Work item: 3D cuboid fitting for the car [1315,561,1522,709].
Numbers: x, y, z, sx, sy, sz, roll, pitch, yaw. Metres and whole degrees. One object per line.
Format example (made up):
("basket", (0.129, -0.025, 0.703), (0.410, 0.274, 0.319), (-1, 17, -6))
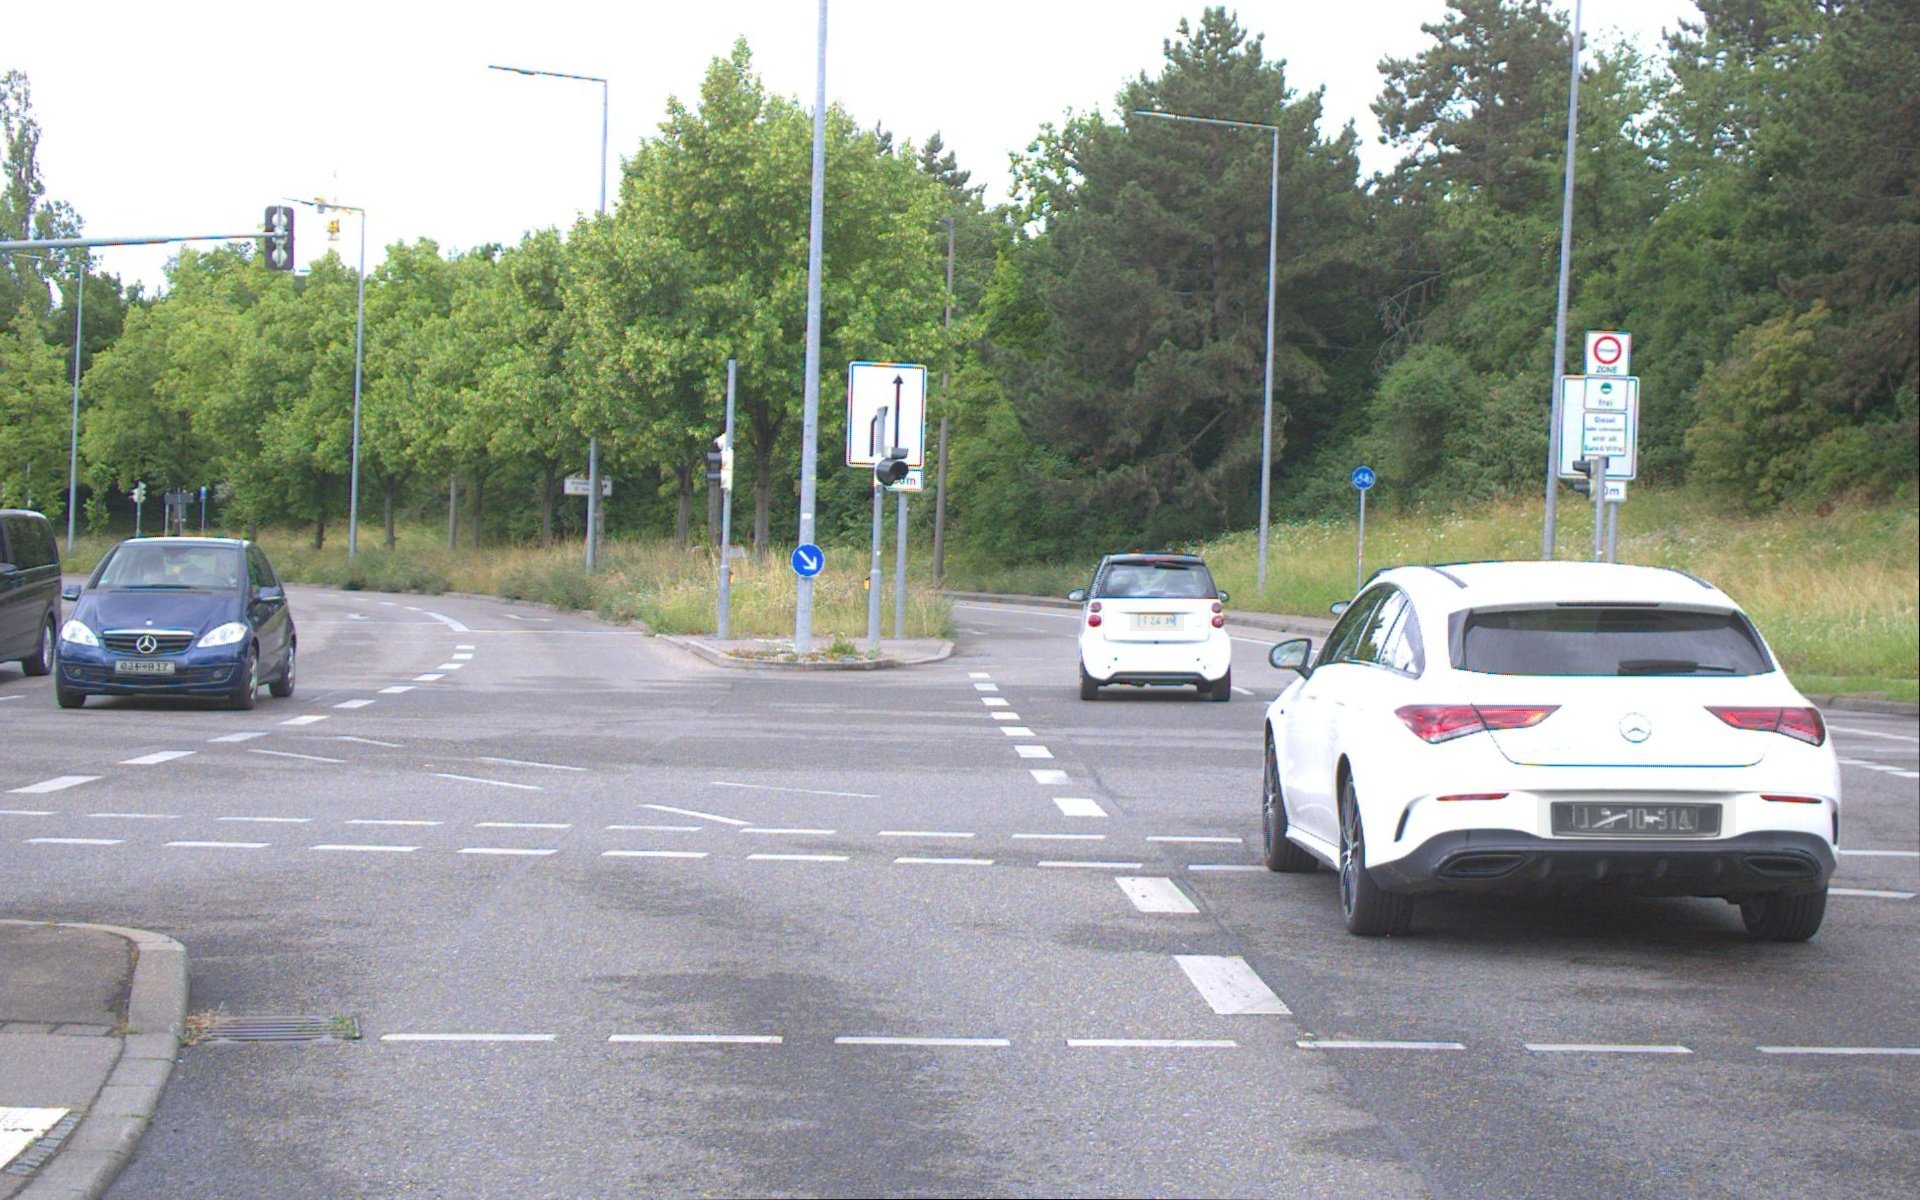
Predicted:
("car", (4.772, 0.332, 36.202), (1.613, 1.448, 3.882), (1, 0, 0))

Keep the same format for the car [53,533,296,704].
("car", (-7.362, 0.147, 32.529), (1.735, 1.503, 3.661), (1, 0, -5))

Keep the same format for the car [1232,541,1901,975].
("car", (2.311, 0.535, 14.331), (1.844, 1.501, 4.531), (1, 0, -2))

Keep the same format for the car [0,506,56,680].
("car", (-10.971, -0.087, 36.421), (1.887, 1.806, 5.093), (0, 1, -5))

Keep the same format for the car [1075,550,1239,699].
("car", (2.072, 0.245, 36.774), (1.592, 1.511, 2.766), (1, 0, 0))
